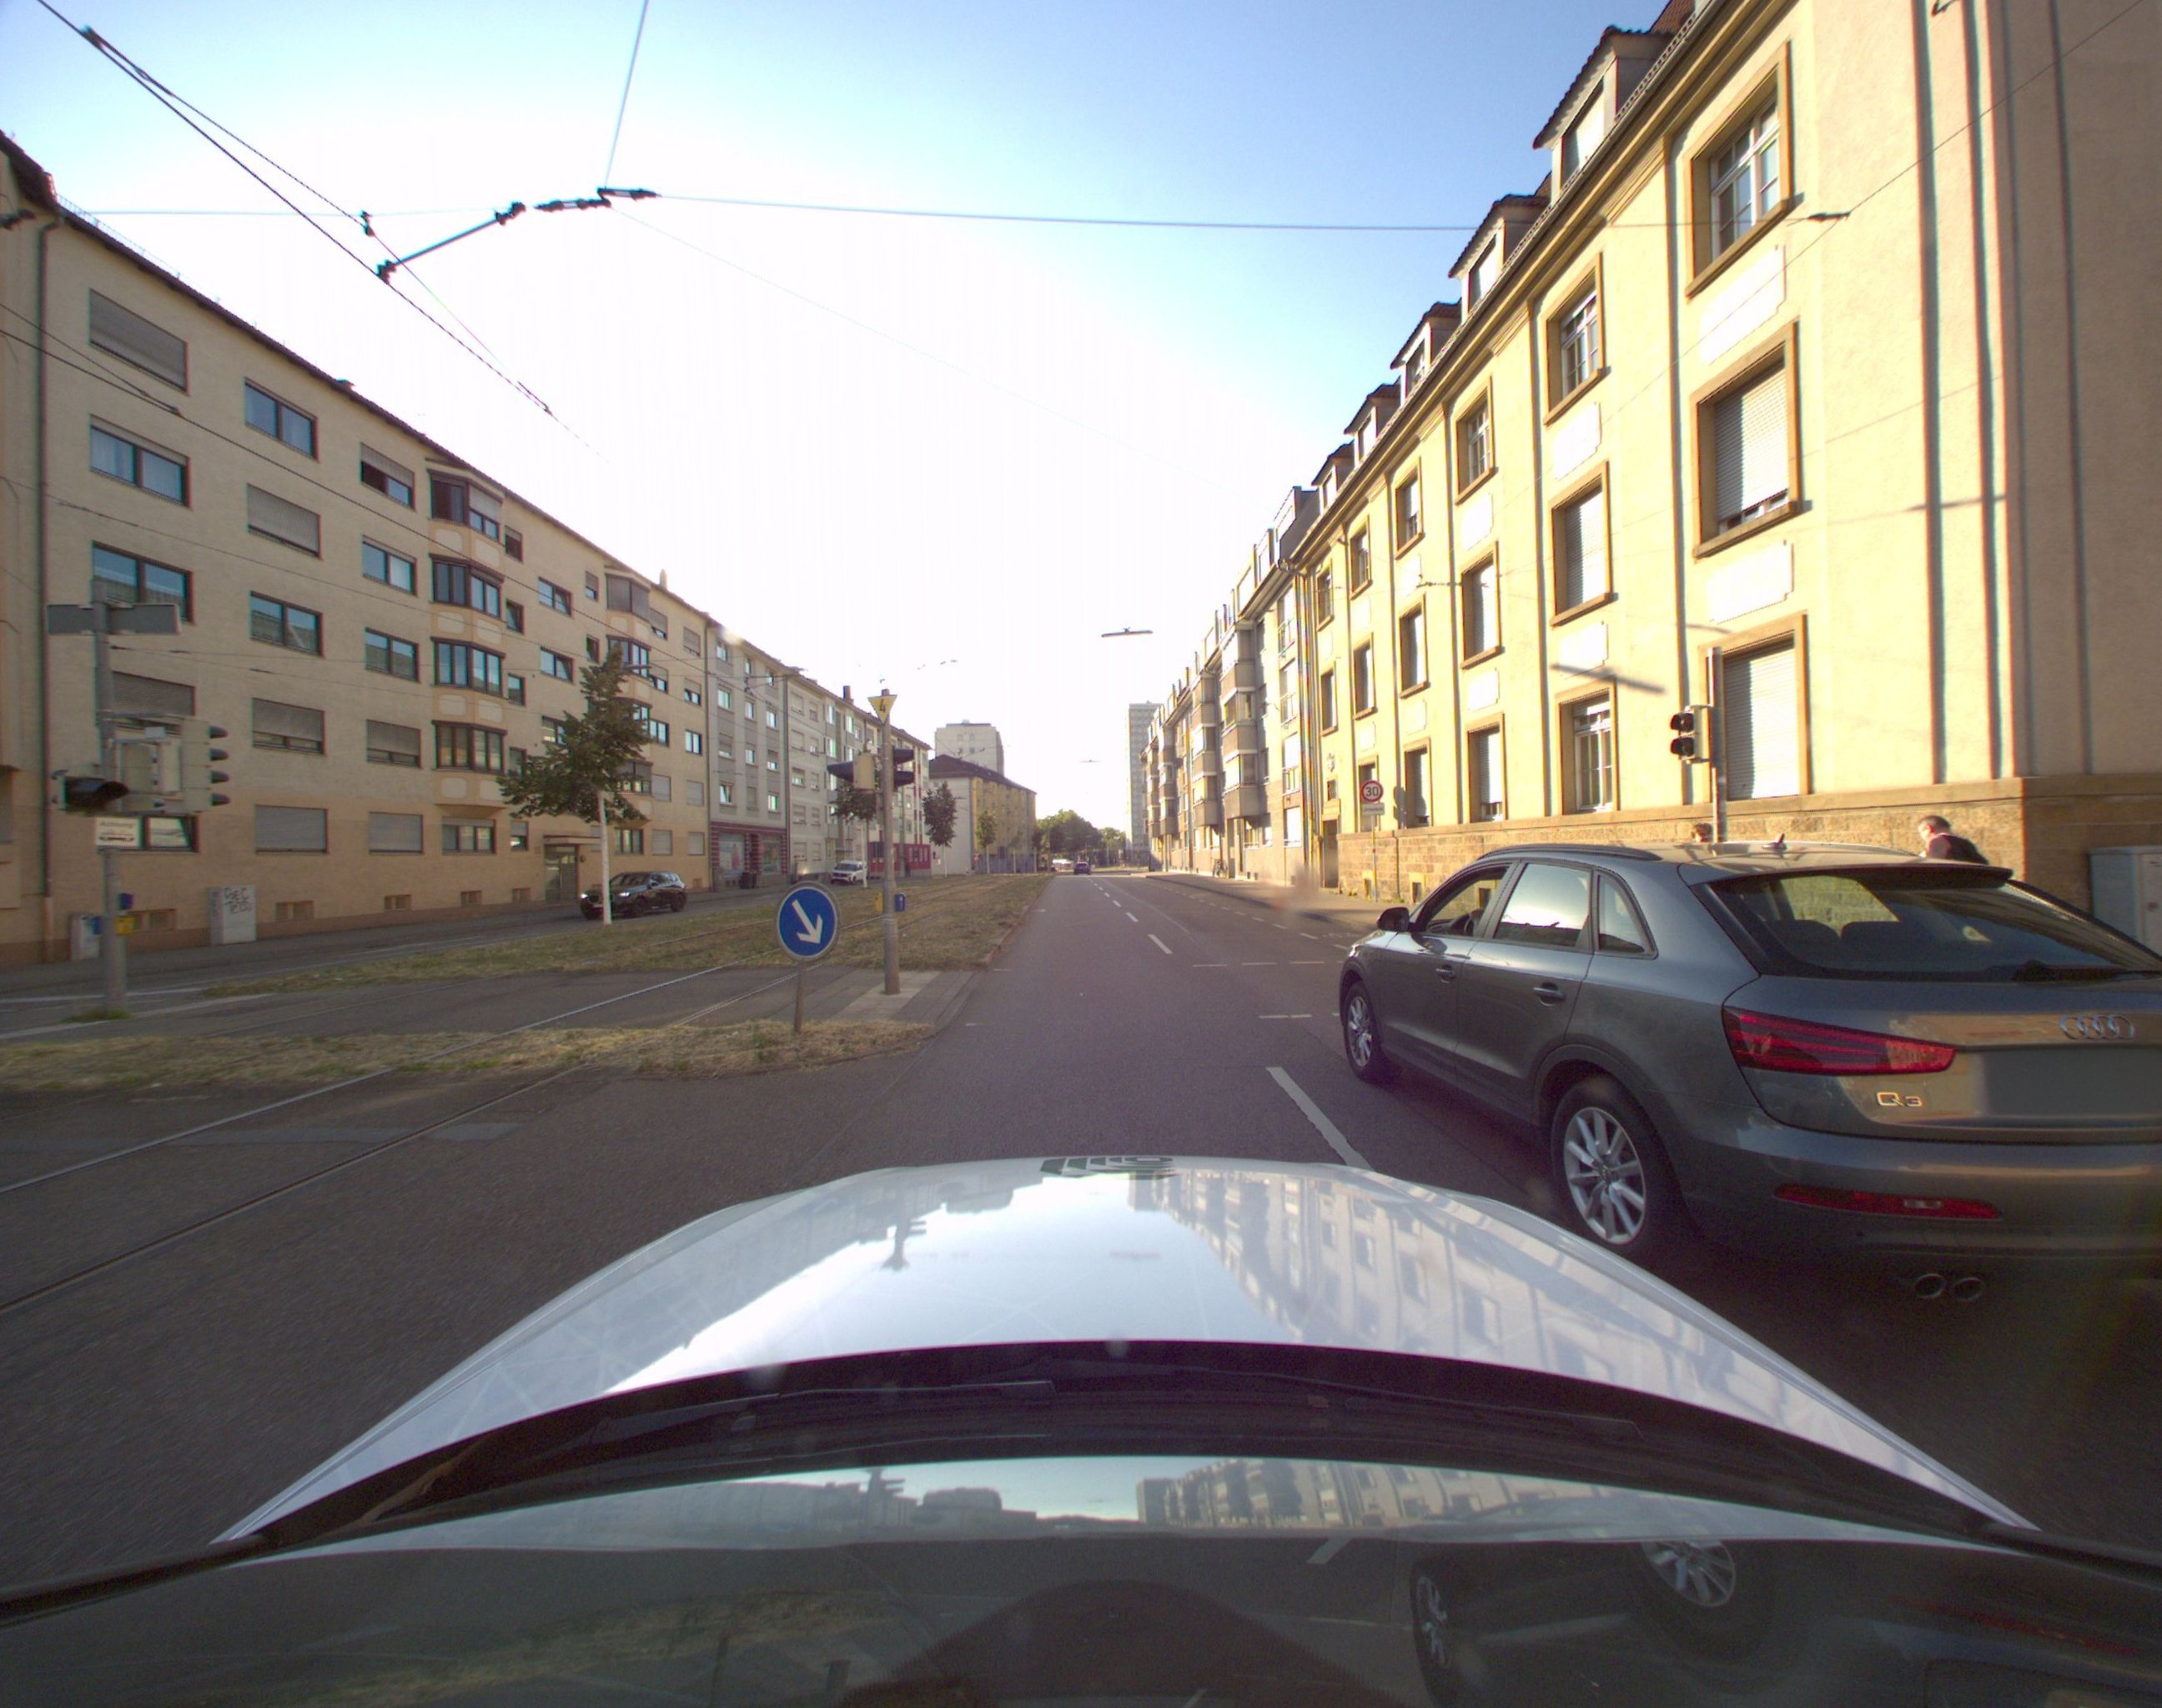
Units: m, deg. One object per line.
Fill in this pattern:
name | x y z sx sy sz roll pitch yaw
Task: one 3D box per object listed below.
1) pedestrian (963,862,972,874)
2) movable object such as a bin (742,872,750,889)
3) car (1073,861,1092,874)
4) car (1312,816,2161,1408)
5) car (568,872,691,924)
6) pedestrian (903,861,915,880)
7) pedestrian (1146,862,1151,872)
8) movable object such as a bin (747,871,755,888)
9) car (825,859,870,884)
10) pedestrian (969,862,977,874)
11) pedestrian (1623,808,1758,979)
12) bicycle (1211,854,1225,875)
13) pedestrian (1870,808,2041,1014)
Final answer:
pedestrian | -16.150 1.994 116.003 0.958 1.694 1.012 -1 -1 4
movable object such as a bin | -20.555 1.602 50.018 0.297 1.036 0.441 0 -1 -2
car | 0.152 1.507 92.583 1.918 1.456 4.331 -1 -1 3
car | 2.704 0.702 4.312 1.692 1.553 4.223 -1 -1 -1
car | -16.654 1.576 30.381 1.891 1.633 4.746 -2 0 0
pedestrian | -18.592 1.785 88.157 1.000 2.035 0.887 -1 -1 5
pedestrian | 8.543 1.648 103.299 0.688 1.234 0.737 -1 -1 5
movable object such as a bin | -20.489 1.598 50.607 0.297 1.036 0.441 0 -1 -2
car | -18.140 1.341 63.478 1.985 1.925 4.545 -1 -1 3
pedestrian | -15.361 1.998 115.987 0.958 1.670 1.012 -1 -1 4
pedestrian | 6.606 0.414 8.872 0.833 1.762 0.823 0 -1 -1
bicycle | 7.474 0.586 44.438 0.383 1.096 1.502 -2 -1 -3
pedestrian | 7.875 0.490 7.374 0.627 1.758 0.825 0 -1 -1
